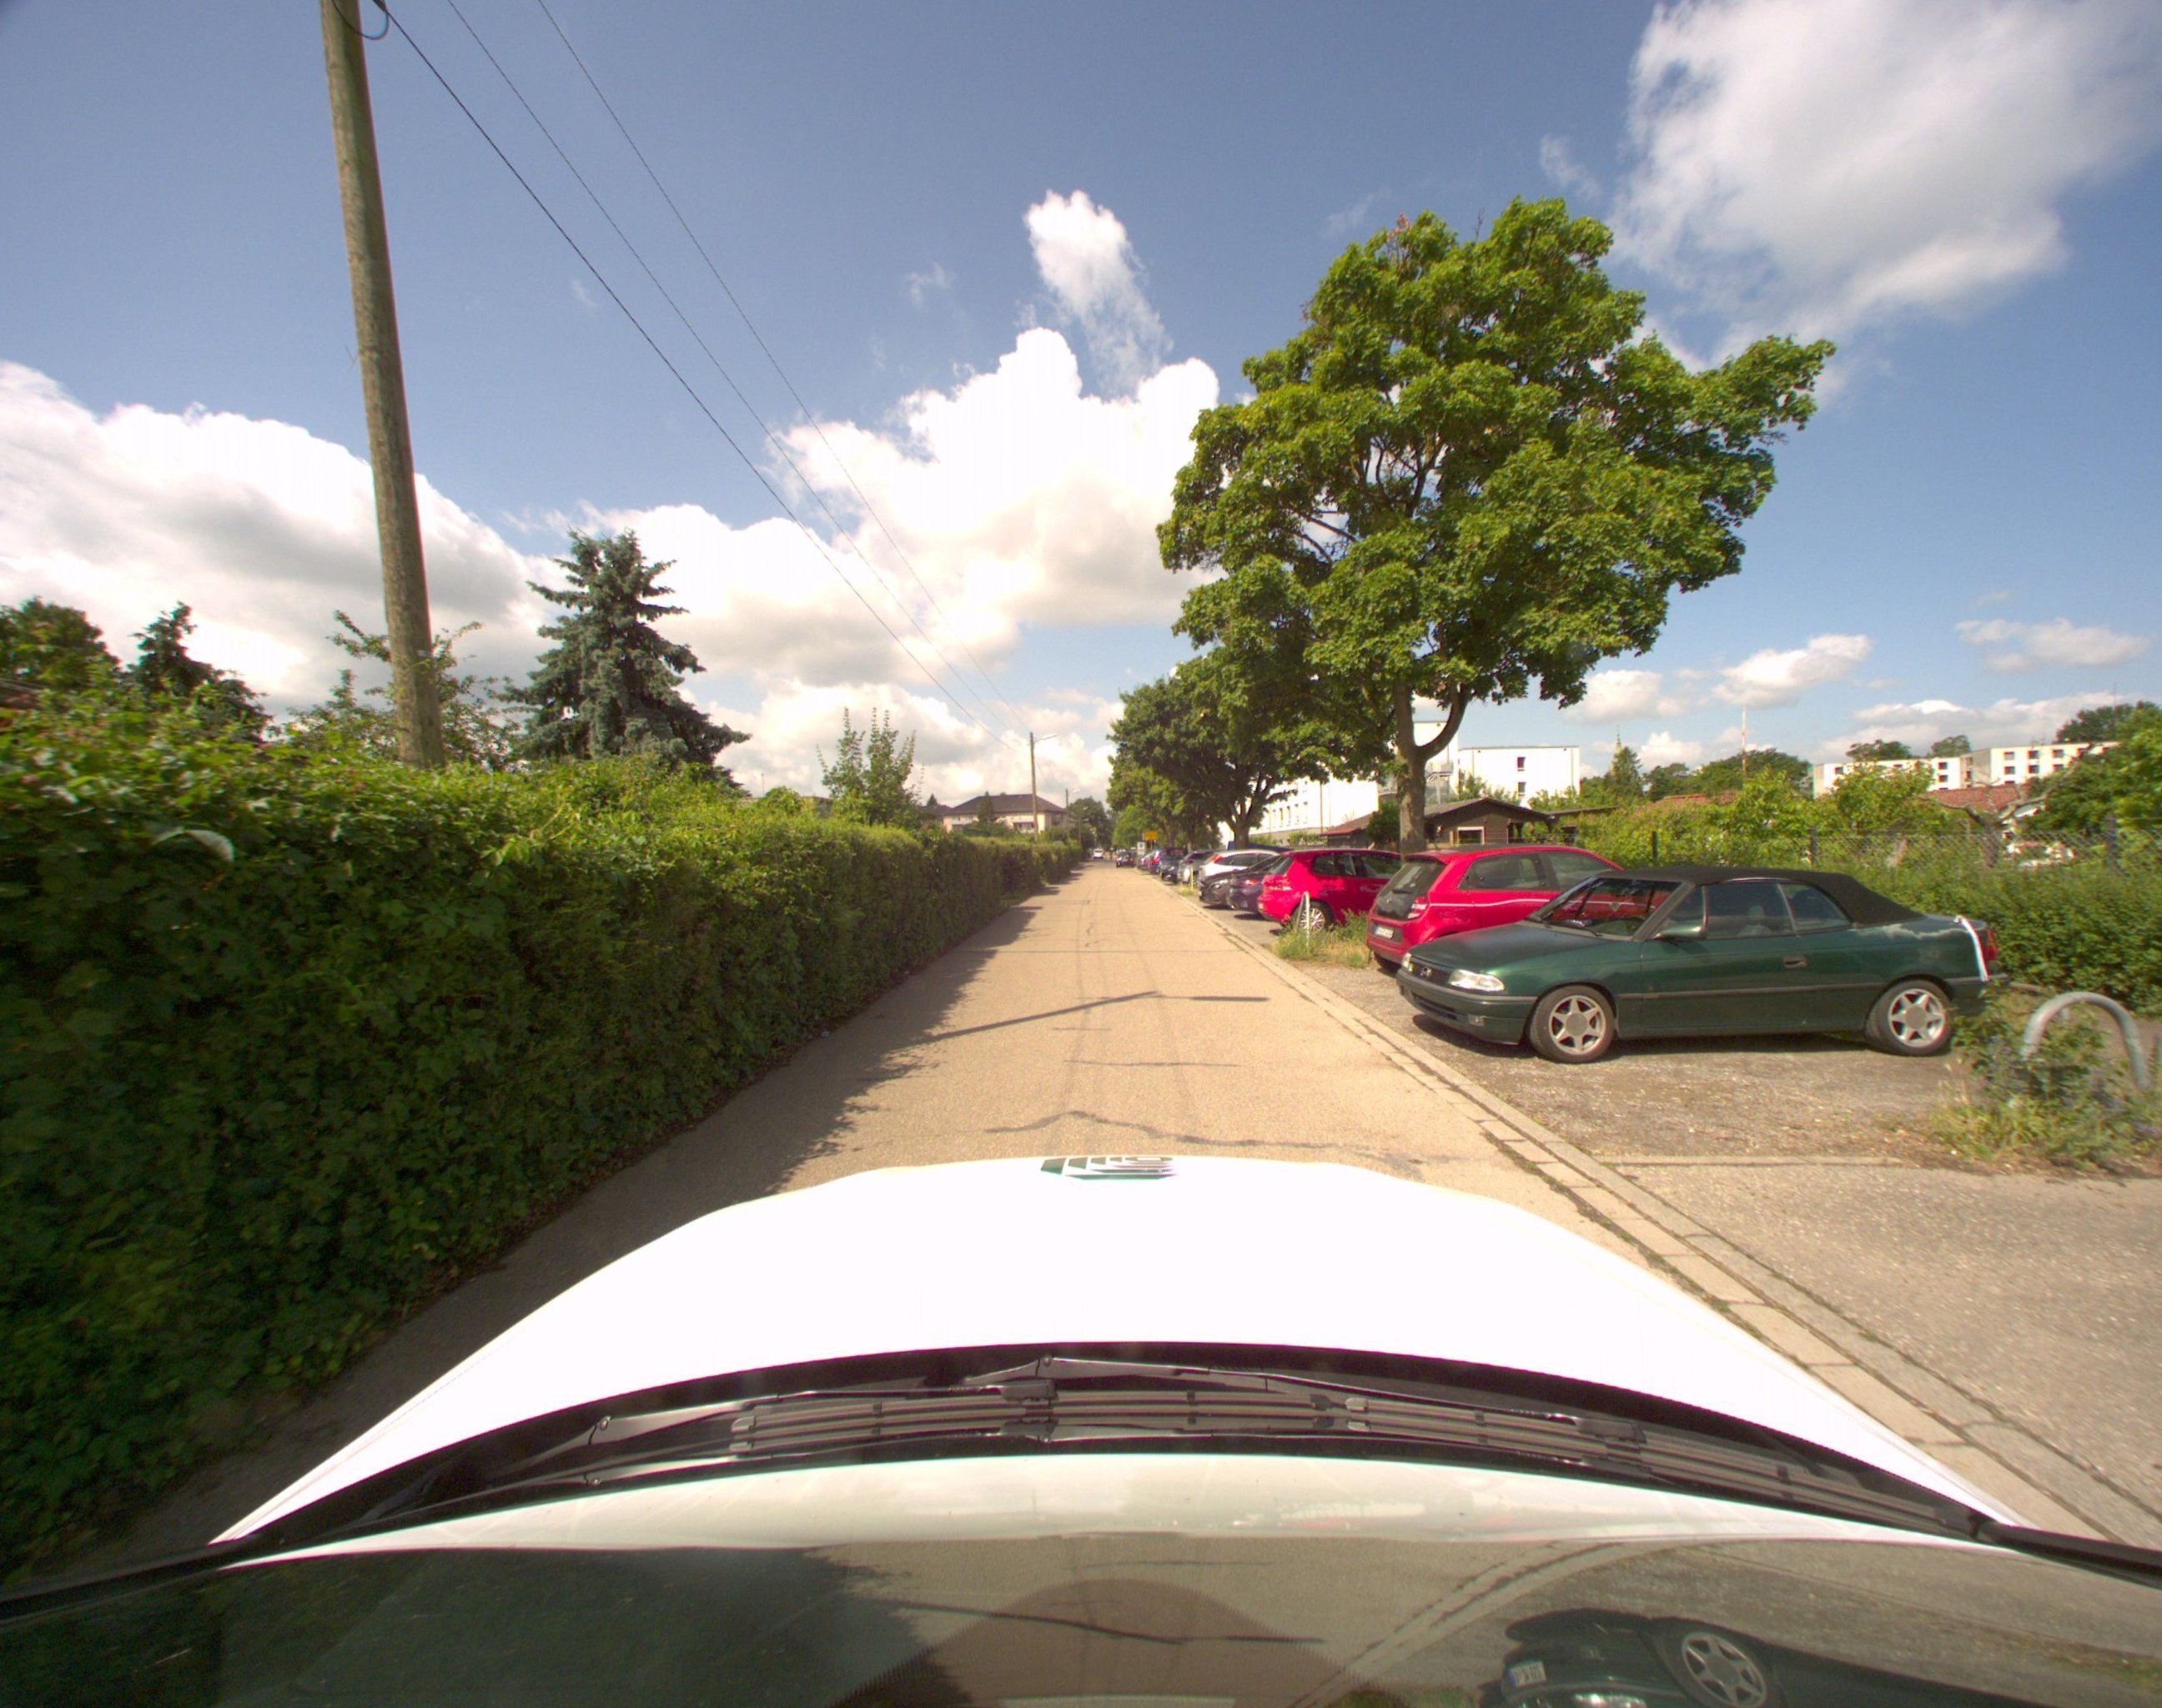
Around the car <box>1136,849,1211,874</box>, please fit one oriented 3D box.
[{"bbox_3d":[5.808,0.457,51.330,4.533,1.578,1.808,0,0,0],"label":"car"}]

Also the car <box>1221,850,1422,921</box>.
[{"bbox_3d":[5.070,0.641,17.643,3.892,1.423,1.960,0,0,4],"label":"car"}]

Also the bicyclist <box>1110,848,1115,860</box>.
[{"bbox_3d":[4.766,0.017,124.973,0.656,1.852,1.044,-3,0,4],"label":"bicyclist"}]

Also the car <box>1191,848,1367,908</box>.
[{"bbox_3d":[4.966,0.583,20.815,4.053,1.455,1.869,0,0,-1],"label":"car"}]

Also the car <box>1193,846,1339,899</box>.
[{"bbox_3d":[5.438,0.519,24.414,4.046,1.511,1.960,0,0,4],"label":"car"}]

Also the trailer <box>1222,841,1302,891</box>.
[{"bbox_3d":[6.331,0.393,28.593,2.443,1.720,1.517,0,1,-2],"label":"trailer"}]

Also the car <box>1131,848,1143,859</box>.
[{"bbox_3d":[9.835,-0.099,142.423,2.049,1.926,4.546,0,0,4],"label":"car"}]

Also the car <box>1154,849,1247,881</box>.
[{"bbox_3d":[5.757,0.517,39.650,4.320,1.492,1.976,0,0,1],"label":"car"}]

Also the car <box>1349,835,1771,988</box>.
[{"bbox_3d":[5.234,0.591,9.320,3.751,1.574,1.870,0,0,1],"label":"car"}]

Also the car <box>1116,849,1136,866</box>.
[{"bbox_3d":[4.247,0.336,76.071,1.655,1.506,4.007,0,0,7],"label":"car"}]

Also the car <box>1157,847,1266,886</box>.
[{"bbox_3d":[5.379,0.498,34.086,4.287,1.594,2.000,0,0,1],"label":"car"}]

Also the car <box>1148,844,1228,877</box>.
[{"bbox_3d":[5.834,0.372,44.731,4.139,1.637,1.879,-2,0,1],"label":"car"}]

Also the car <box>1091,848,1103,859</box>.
[{"bbox_3d":[2.866,-0.081,144.666,1.894,1.814,4.005,0,0,4],"label":"car"}]

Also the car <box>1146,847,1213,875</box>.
[{"bbox_3d":[5.876,0.408,48.918,3.795,1.532,1.762,-2,0,1],"label":"car"}]

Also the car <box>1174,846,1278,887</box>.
[{"bbox_3d":[5.549,0.481,31.498,3.713,1.540,1.848,0,0,-2],"label":"car"}]

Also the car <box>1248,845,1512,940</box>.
[{"bbox_3d":[5.013,0.622,14.128,3.968,1.519,1.857,0,0,5],"label":"car"}]

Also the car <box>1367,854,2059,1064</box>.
[{"bbox_3d":[4.762,0.723,6.603,4.228,1.428,1.907,0,0,-3],"label":"car"}]
